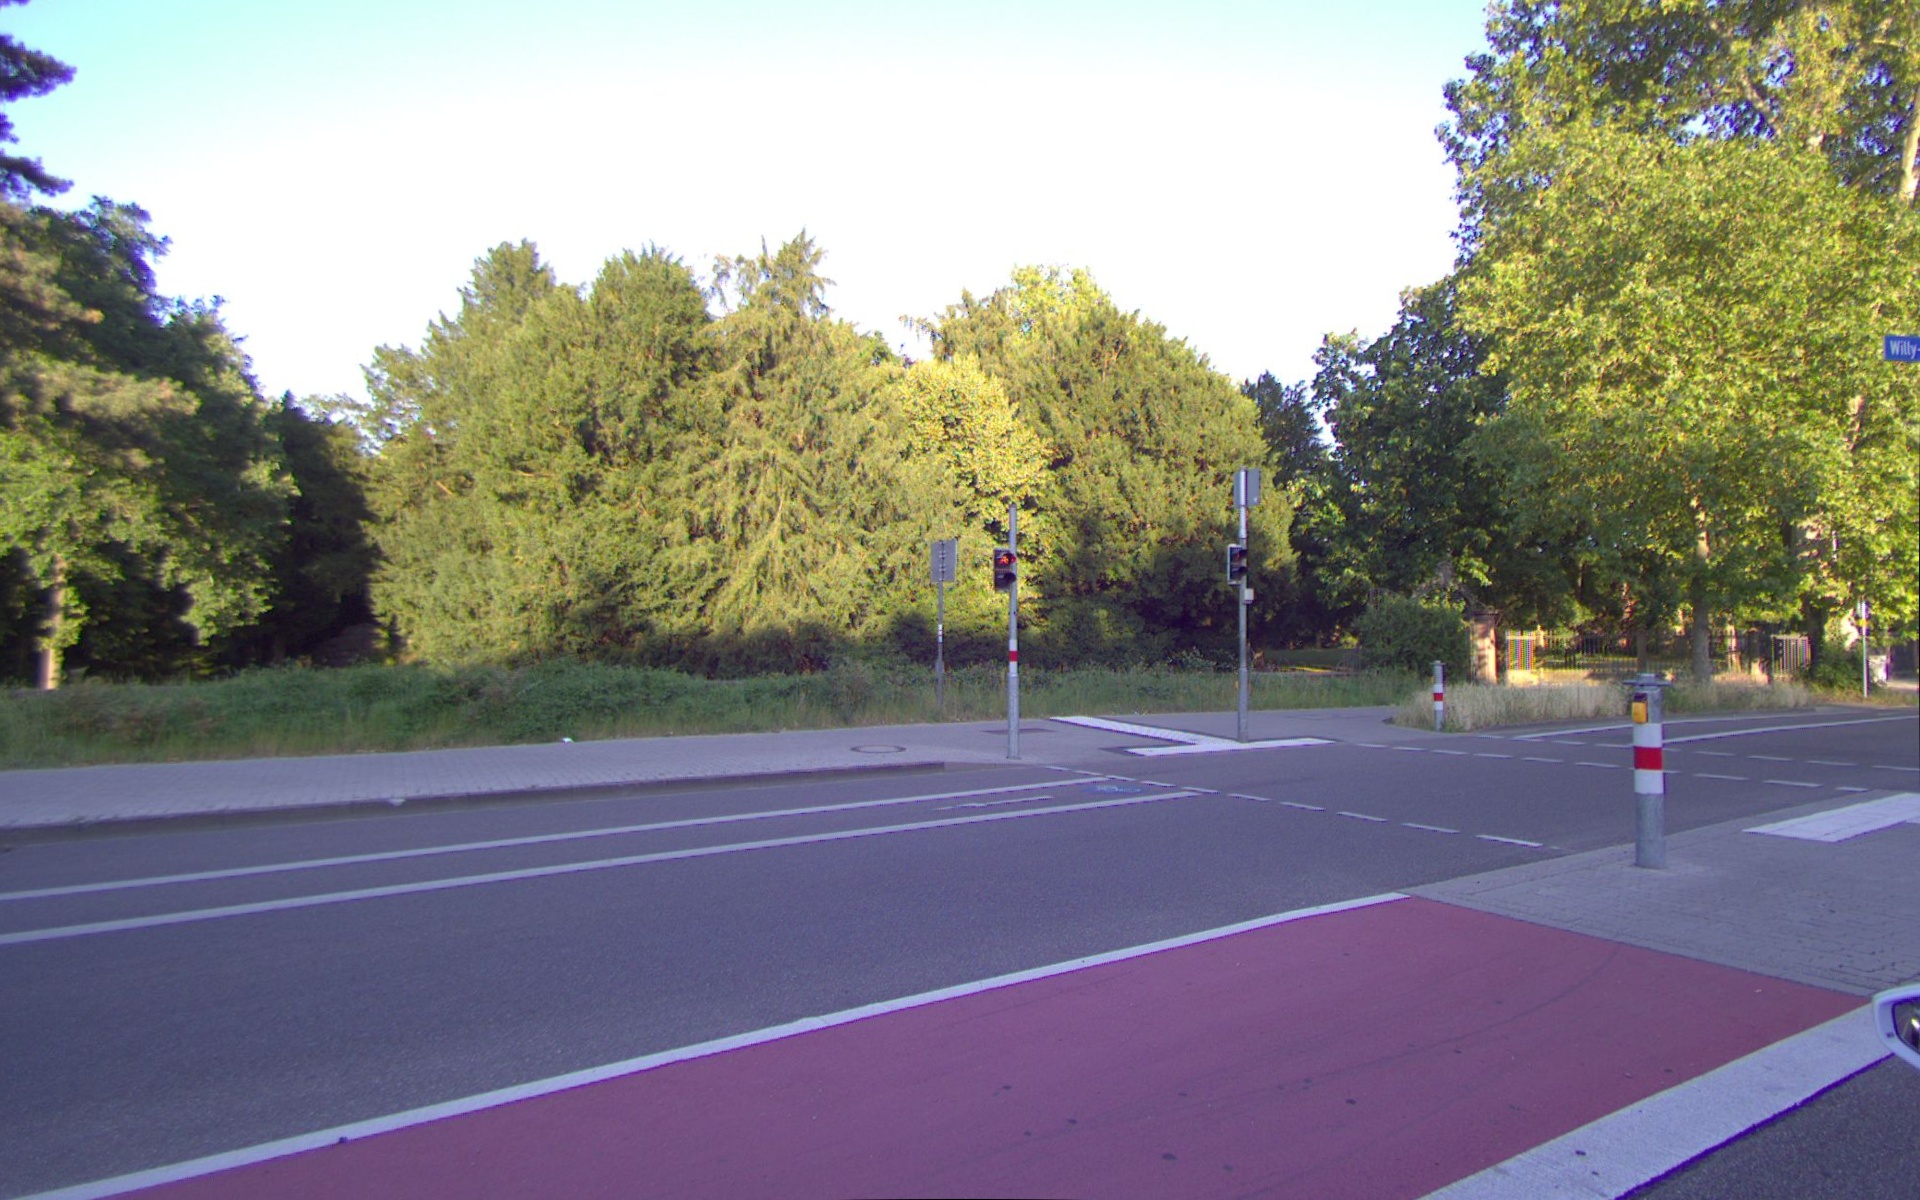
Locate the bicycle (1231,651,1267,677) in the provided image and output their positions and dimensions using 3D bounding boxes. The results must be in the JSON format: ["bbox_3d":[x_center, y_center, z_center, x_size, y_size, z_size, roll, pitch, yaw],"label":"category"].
[{"bbox_3d":[14.525,3.209,50.500,1.607,1.245,0.571,-1,-2,38],"label":"bicycle"}]

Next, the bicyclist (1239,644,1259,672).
[{"bbox_3d":[14.538,2.892,50.530,0.826,1.379,0.571,-1,-2,37],"label":"bicyclist"}]
